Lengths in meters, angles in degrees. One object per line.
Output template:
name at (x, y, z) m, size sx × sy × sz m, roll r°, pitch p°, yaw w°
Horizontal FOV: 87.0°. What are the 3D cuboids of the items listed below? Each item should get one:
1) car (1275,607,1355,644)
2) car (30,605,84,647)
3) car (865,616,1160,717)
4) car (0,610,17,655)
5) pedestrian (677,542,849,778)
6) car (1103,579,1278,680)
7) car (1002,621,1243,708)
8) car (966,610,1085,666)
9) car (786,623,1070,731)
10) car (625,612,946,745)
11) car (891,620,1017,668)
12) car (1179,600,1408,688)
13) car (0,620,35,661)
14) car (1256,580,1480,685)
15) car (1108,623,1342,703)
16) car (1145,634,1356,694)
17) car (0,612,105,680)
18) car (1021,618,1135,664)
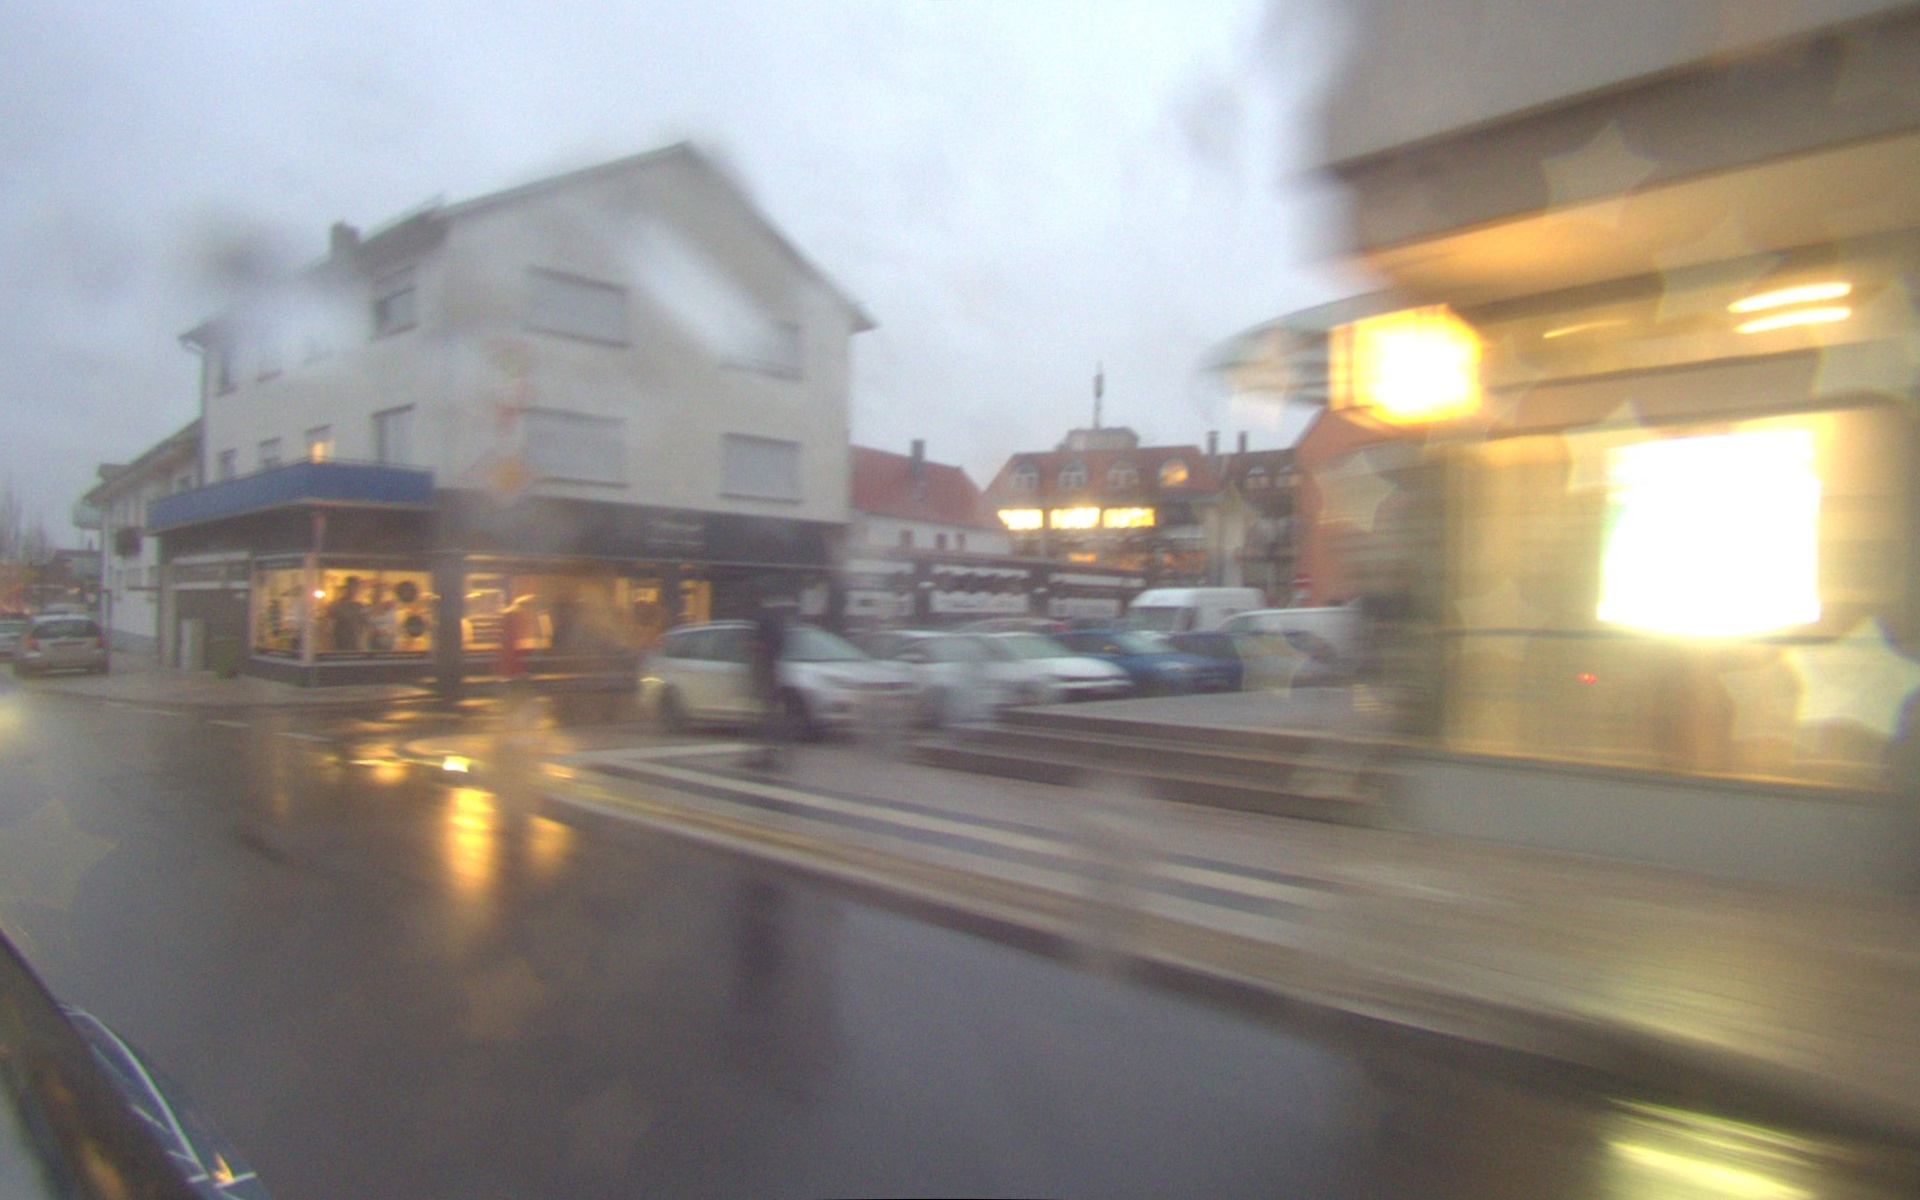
car at (19.005, 1.402, 54.175) m, size 3.944 × 1.898 × 1.690 m, roll -2°, pitch -3°, yaw 22°
car at (-60.497, 1.711, 67.874) m, size 2.014 × 2.679 × 4.222 m, roll -2°, pitch 0°, yaw -33°
car at (0.765, 1.125, 17.707) m, size 5.046 × 1.511 × 2.078 m, roll -3°, pitch -4°, yaw 45°
car at (-42.956, 1.468, 44.500) m, size 1.856 × 1.914 × 4.842 m, roll -1°, pitch -1°, yaw -39°
pedestrian at (-1.768, 0.515, 9.141) m, size 1.198 × 1.953 × 0.966 m, roll -1°, pitch -2°, yaw 32°
car at (7.008, 0.870, 30.038) m, size 1.977 × 2.682 × 6.669 m, roll 0°, pitch -1°, yaw 43°
car at (2.975, 1.207, 19.350) m, size 1.677 × 1.475 × 4.454 m, roll 2°, pitch -4°, yaw -43°
car at (2.342, 1.387, 36.342) m, size 3.944 × 1.885 × 1.690 m, roll -2°, pitch -3°, yaw 22°
car at (-0.620, 1.113, 15.383) m, size 4.450 × 1.411 × 1.679 m, roll -3°, pitch -4°, yaw 43°
car at (-2.450, 1.004, 13.582) m, size 4.444 × 1.511 × 1.746 m, roll -3°, pitch -3°, yaw 38°
car at (-0.208, 1.514, 34.443) m, size 3.944 × 1.550 × 1.690 m, roll -2°, pitch -3°, yaw 22°
car at (8.217, 1.119, 25.309) m, size 5.161 × 1.979 × 1.679 m, roll -3°, pitch -4°, yaw 42°
car at (-36.135, 1.500, 38.201) m, size 1.773 × 1.467 × 4.399 m, roll -1°, pitch 0°, yaw -43°
car at (10.609, 0.908, 26.658) m, size 5.164 × 2.511 × 1.678 m, roll -3°, pitch -4°, yaw 44°
car at (5.353, 1.272, 20.937) m, size 1.677 × 1.475 × 4.454 m, roll 2°, pitch -4°, yaw -43°
car at (6.570, 1.448, 23.321) m, size 1.677 × 1.245 × 4.456 m, roll 2°, pitch -4°, yaw -42°
car at (-24.240, 1.182, 26.973) m, size 3.815 × 1.626 × 1.702 m, roll -1°, pitch 1°, yaw 43°
car at (4.437, 1.556, 38.139) m, size 3.944 × 1.665 × 1.690 m, roll -2°, pitch -3°, yaw 22°
